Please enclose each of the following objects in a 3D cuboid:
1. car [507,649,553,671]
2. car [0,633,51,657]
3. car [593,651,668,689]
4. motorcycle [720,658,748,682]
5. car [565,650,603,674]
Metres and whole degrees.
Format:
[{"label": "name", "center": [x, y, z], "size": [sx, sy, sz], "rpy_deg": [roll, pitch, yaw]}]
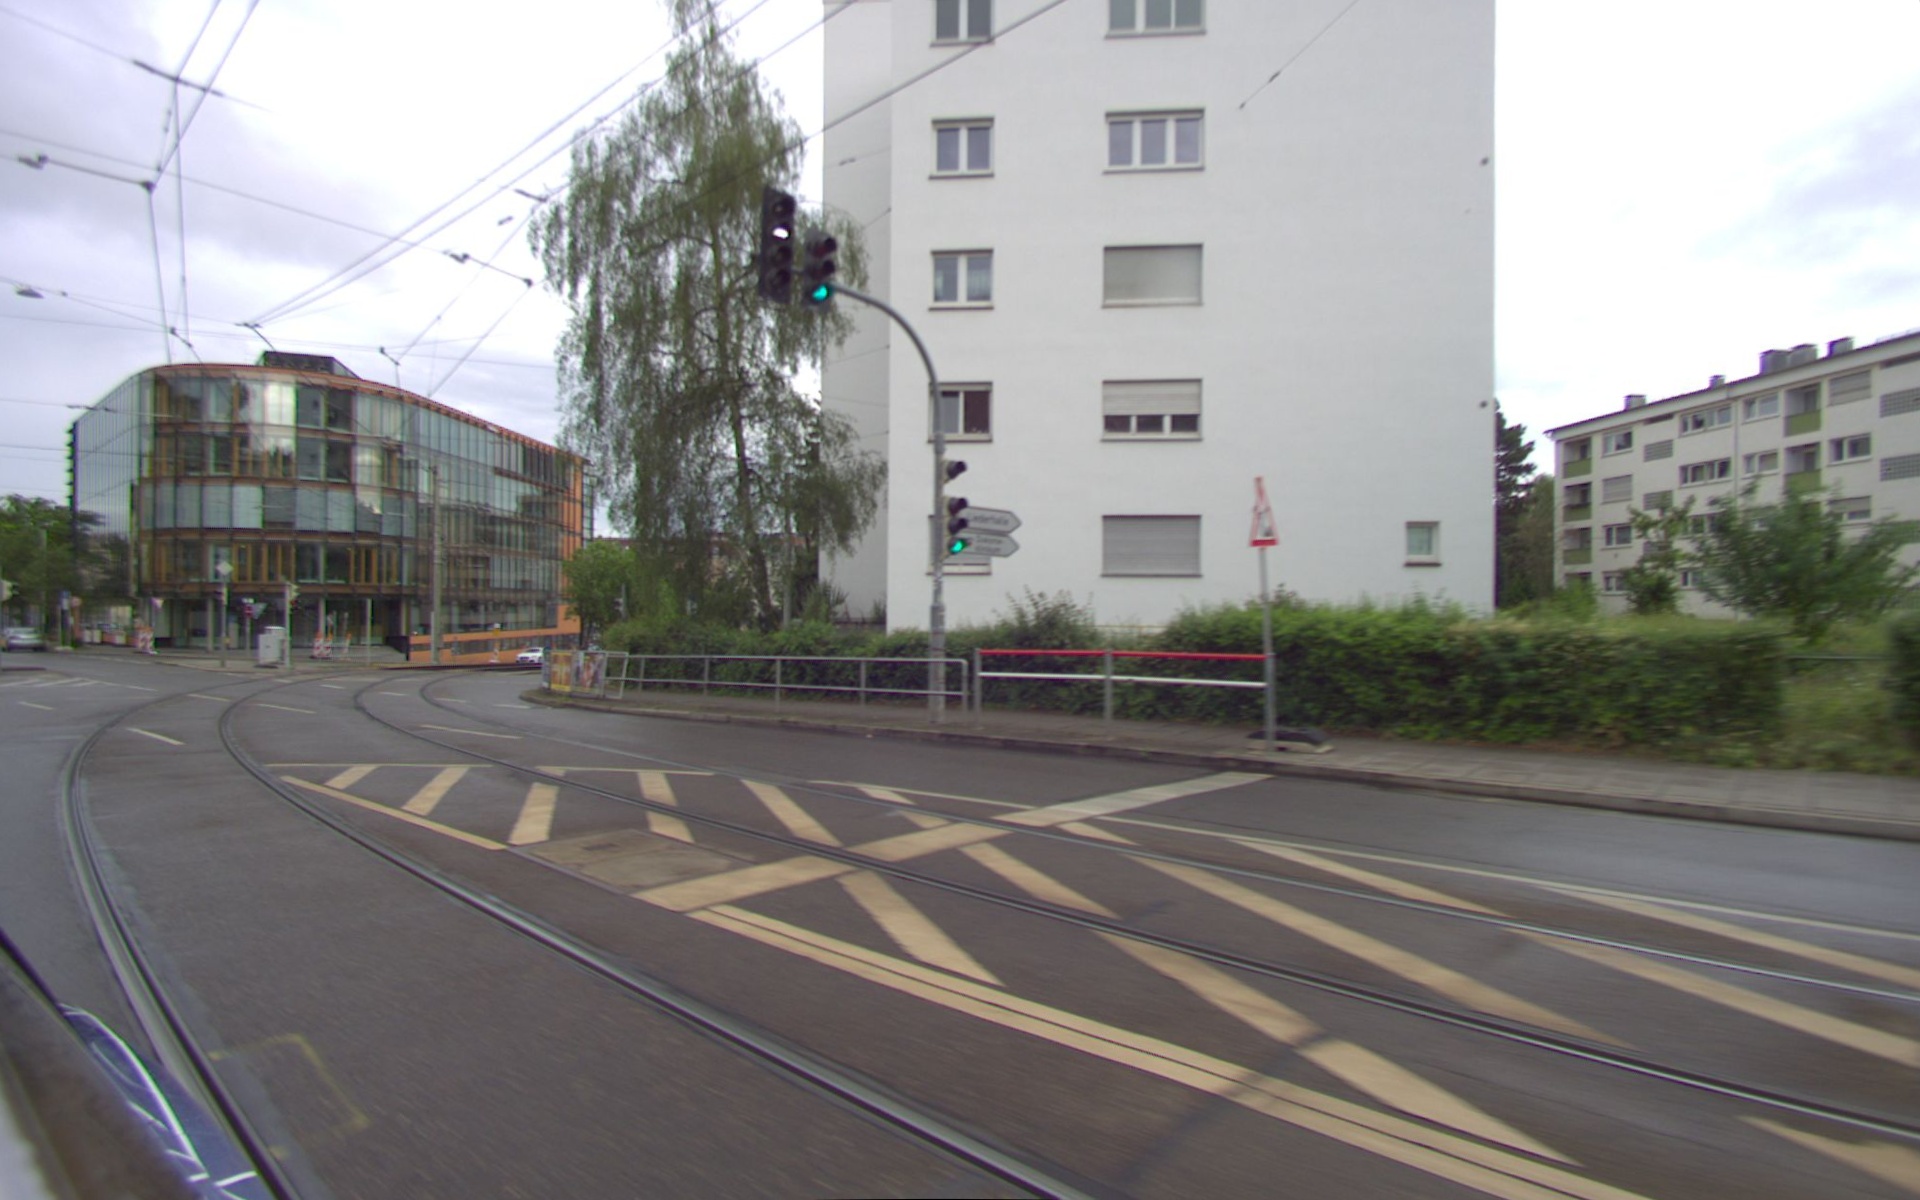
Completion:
[{"label": "car", "center": [-33.715, 4.686, 79.457], "size": [1.891, 1.507, 3.999], "rpy_deg": [0, 0, 1]}, {"label": "car", "center": [-56.284, 2.670, 60.850], "size": [4.643, 1.405, 1.838], "rpy_deg": [-2, -3, 41]}, {"label": "car", "center": [-14.048, 2.985, 43.396], "size": [1.847, 1.472, 4.493], "rpy_deg": [2, -4, -2]}, {"label": "motorcycle", "center": [-9.850, 3.044, 44.166], "size": [0.767, 0.947, 2.236], "rpy_deg": [-2, -2, -1]}, {"label": "car", "center": [-33.585, 5.504, 90.581], "size": [1.891, 1.907, 3.999], "rpy_deg": [0, 0, 1]}]
